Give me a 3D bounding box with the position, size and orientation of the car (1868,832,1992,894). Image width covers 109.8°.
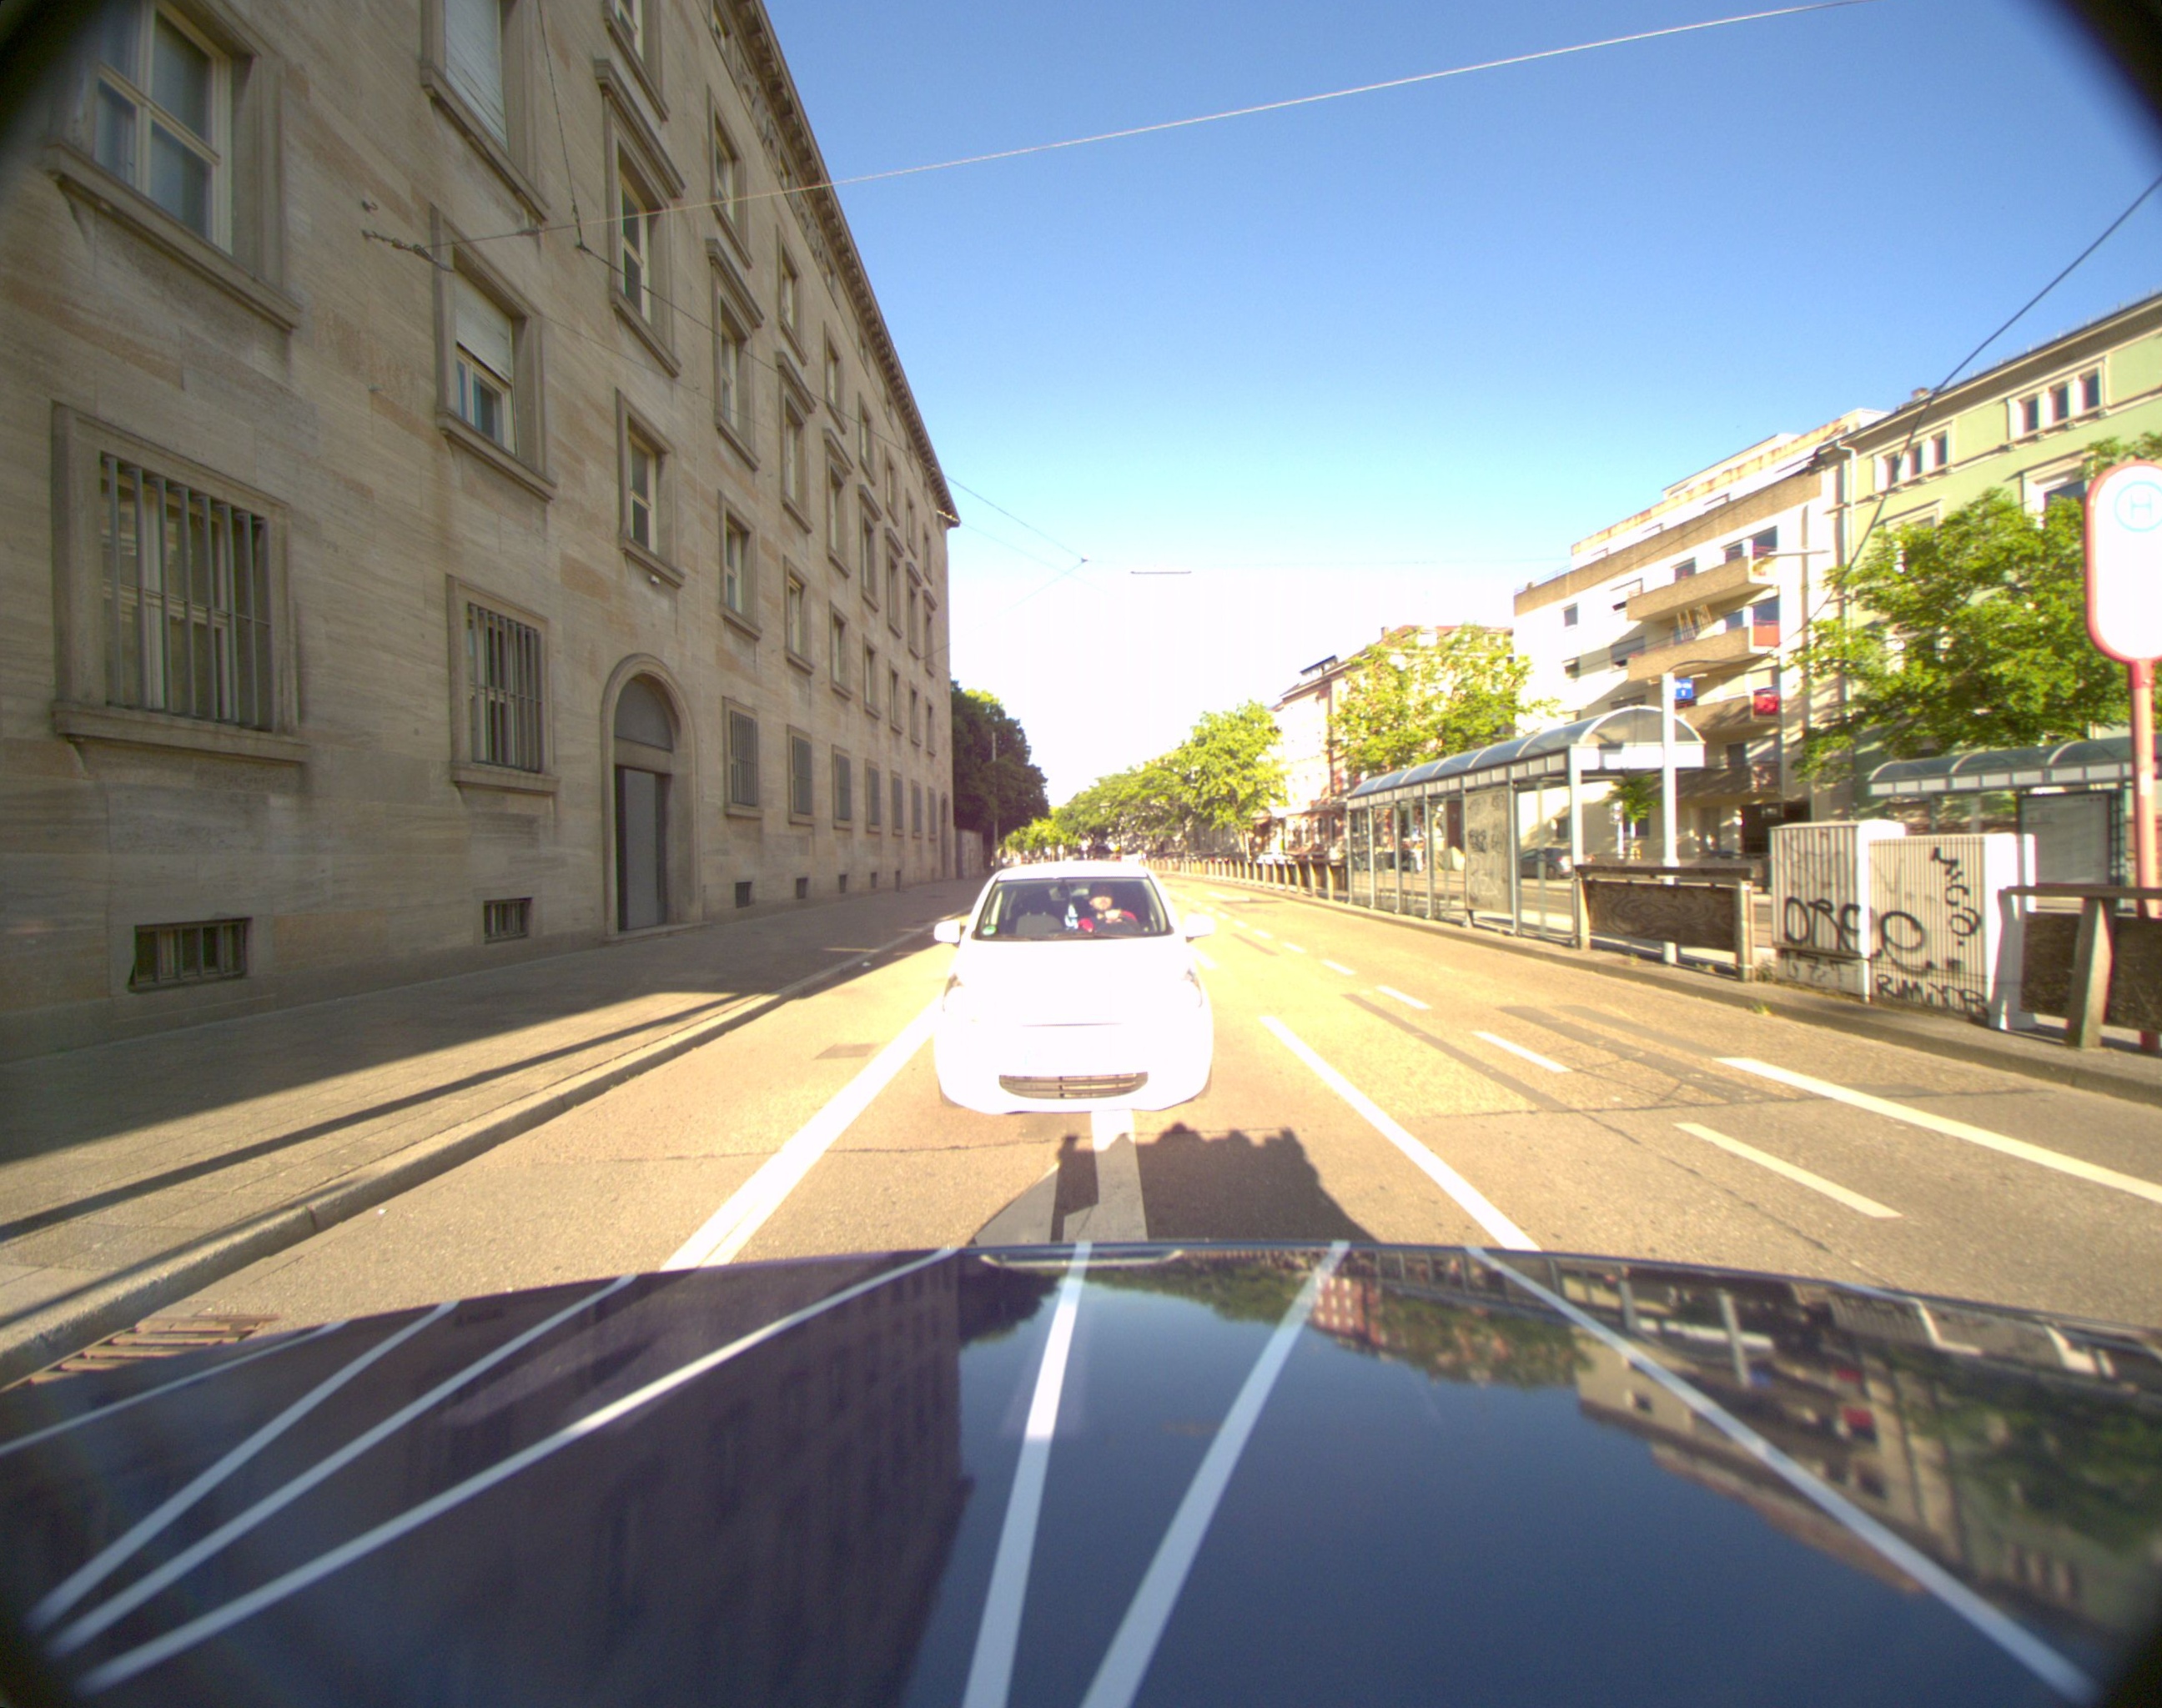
[{"bbox_3d":[24.458,0.230,21.882,3.605,1.558,1.627,-3,1,-29],"label":"car"}]

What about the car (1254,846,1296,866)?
[{"bbox_3d":[16.252,0.156,63.468,3.607,1.558,1.627,-3,1,-42],"label":"car"}]

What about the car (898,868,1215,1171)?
[{"bbox_3d":[-0.103,0.905,5.800,1.612,1.462,3.631,-2,0,1],"label":"car"}]

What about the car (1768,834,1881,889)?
[{"bbox_3d":[23.879,0.224,24.394,3.605,1.558,1.627,-3,1,-29],"label":"car"}]

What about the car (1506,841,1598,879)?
[{"bbox_3d":[20.910,0.231,33.924,1.631,1.558,3.598,-2,1,-5],"label":"car"}]

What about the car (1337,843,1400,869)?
[{"bbox_3d":[19.538,0.124,51.715,3.599,1.558,1.630,-2,1,-7],"label":"car"}]
